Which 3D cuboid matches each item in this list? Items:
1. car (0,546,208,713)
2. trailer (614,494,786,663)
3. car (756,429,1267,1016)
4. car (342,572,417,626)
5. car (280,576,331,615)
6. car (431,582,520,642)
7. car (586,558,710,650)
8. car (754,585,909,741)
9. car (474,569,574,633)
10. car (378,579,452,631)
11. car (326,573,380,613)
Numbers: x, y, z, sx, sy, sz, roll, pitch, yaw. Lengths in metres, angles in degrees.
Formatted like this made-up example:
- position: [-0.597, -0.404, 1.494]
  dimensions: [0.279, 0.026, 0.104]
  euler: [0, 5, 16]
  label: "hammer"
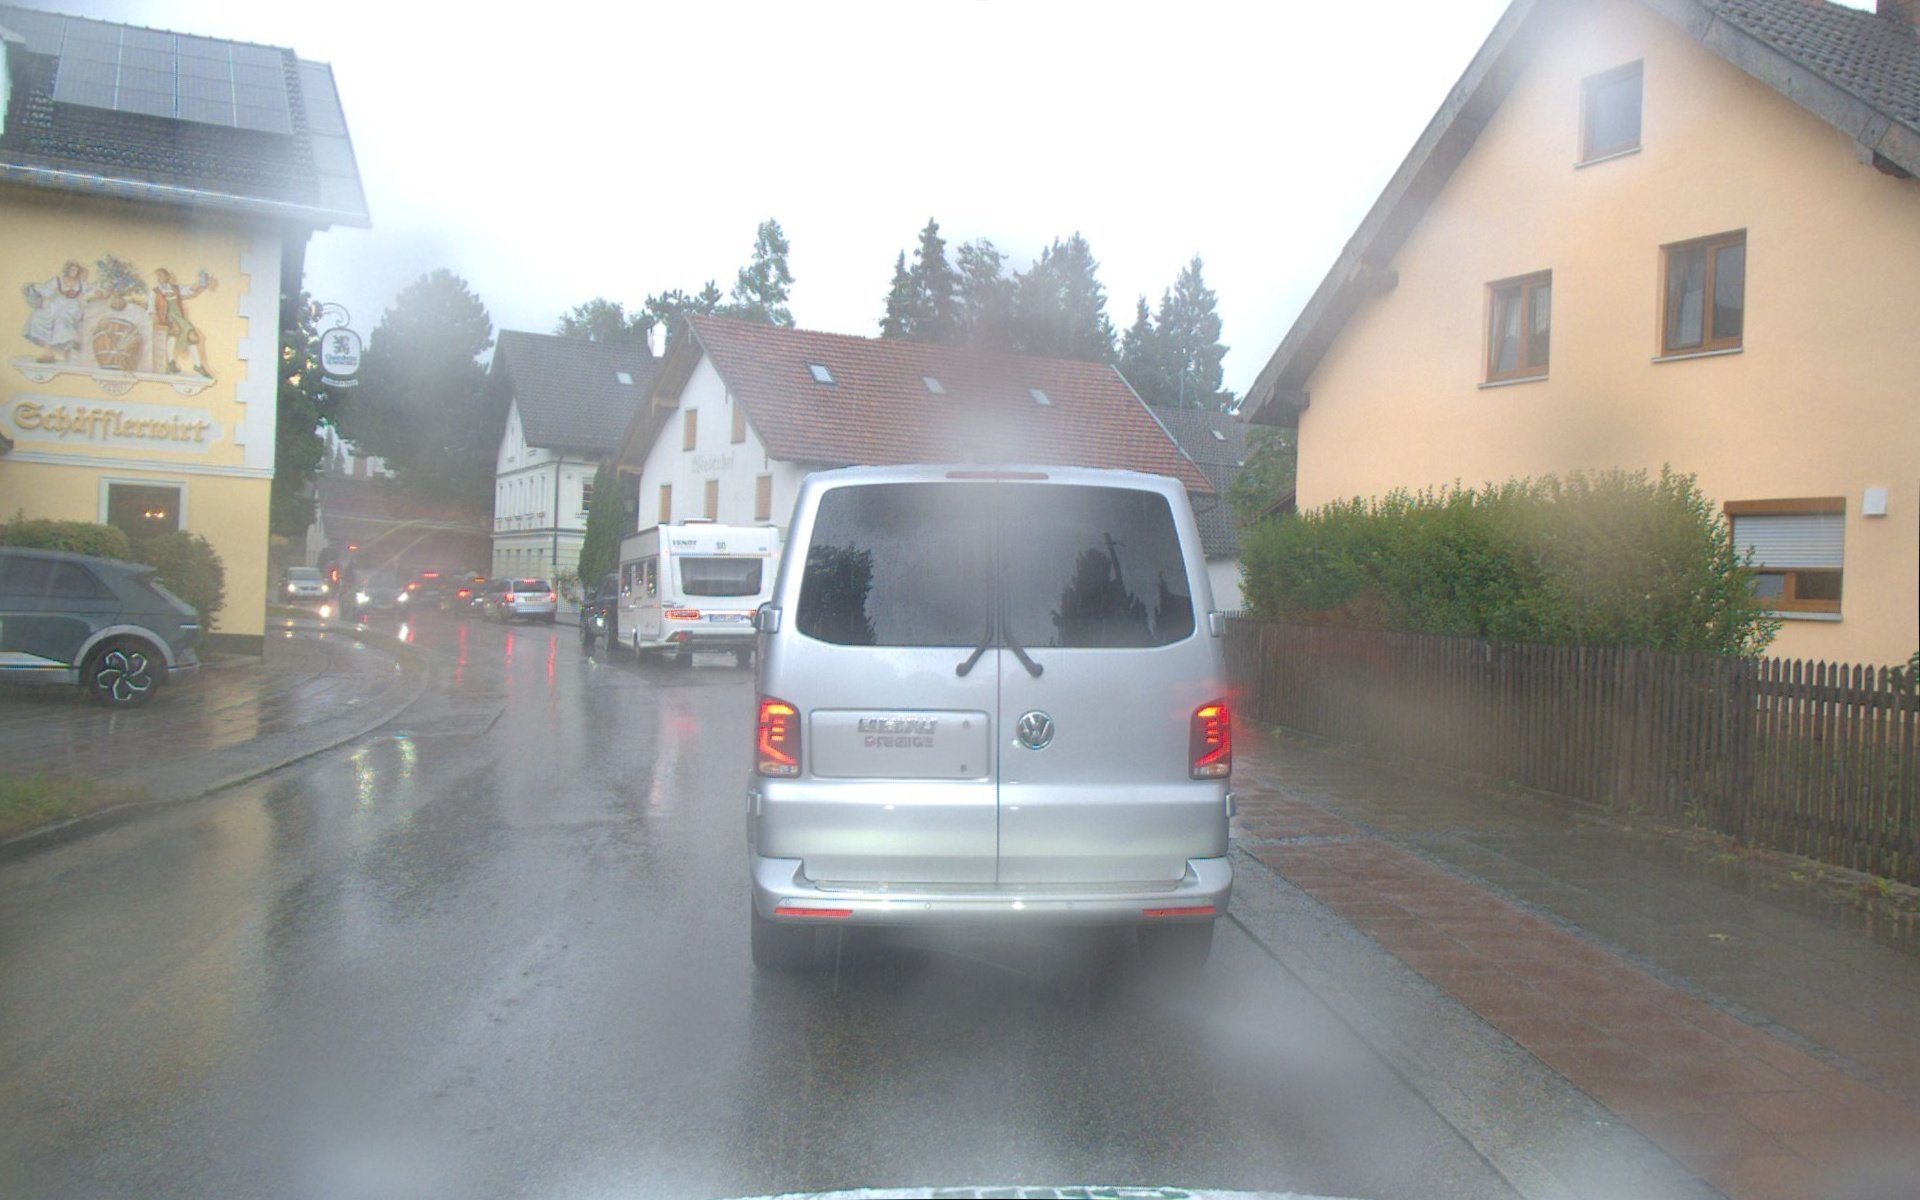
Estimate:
- position: [-10.659, 0.217, 17.842]
  dimensions: [4.427, 1.594, 1.822]
  euler: [5, 1, -29]
  label: "car"
- position: [-5.214, -0.388, 32.320]
  dimensions: [2.237, 2.955, 6.098]
  euler: [1, 0, -19]
  label: "trailer"
- position: [0.161, 0.414, 8.203]
  dimensions: [1.740, 1.997, 5.073]
  euler: [0, 0, 0]
  label: "car"
- position: [-20.090, -0.048, 57.151]
  dimensions: [1.900, 1.775, 4.154]
  euler: [0, 0, -28]
  label: "car"
- position: [-29.545, -0.213, 74.581]
  dimensions: [1.733, 1.707, 3.963]
  euler: [0, 0, -28]
  label: "car"
- position: [-17.554, 0.408, 59.771]
  dimensions: [2.143, 1.932, 4.971]
  euler: [2, 1, -27]
  label: "car"
- position: [-7.171, 0.078, 37.595]
  dimensions: [2.023, 1.932, 5.147]
  euler: [1, 0, -19]
  label: "car"
- position: [-1.693, 0.667, 20.419]
  dimensions: [1.676, 1.611, 4.678]
  euler: [-1, 1, -7]
  label: "car"
- position: [-14.344, 0.024, 54.252]
  dimensions: [2.143, 1.932, 4.970]
  euler: [2, -1, -27]
  label: "car"
- position: [-22.716, 0.193, 68.819]
  dimensions: [2.143, 1.932, 4.971]
  euler: [2, 1, -27]
  label: "car"
- position: [-32.614, -0.402, 88.761]
  dimensions: [2.143, 1.932, 4.971]
  euler: [2, 1, -27]
  label: "car"
